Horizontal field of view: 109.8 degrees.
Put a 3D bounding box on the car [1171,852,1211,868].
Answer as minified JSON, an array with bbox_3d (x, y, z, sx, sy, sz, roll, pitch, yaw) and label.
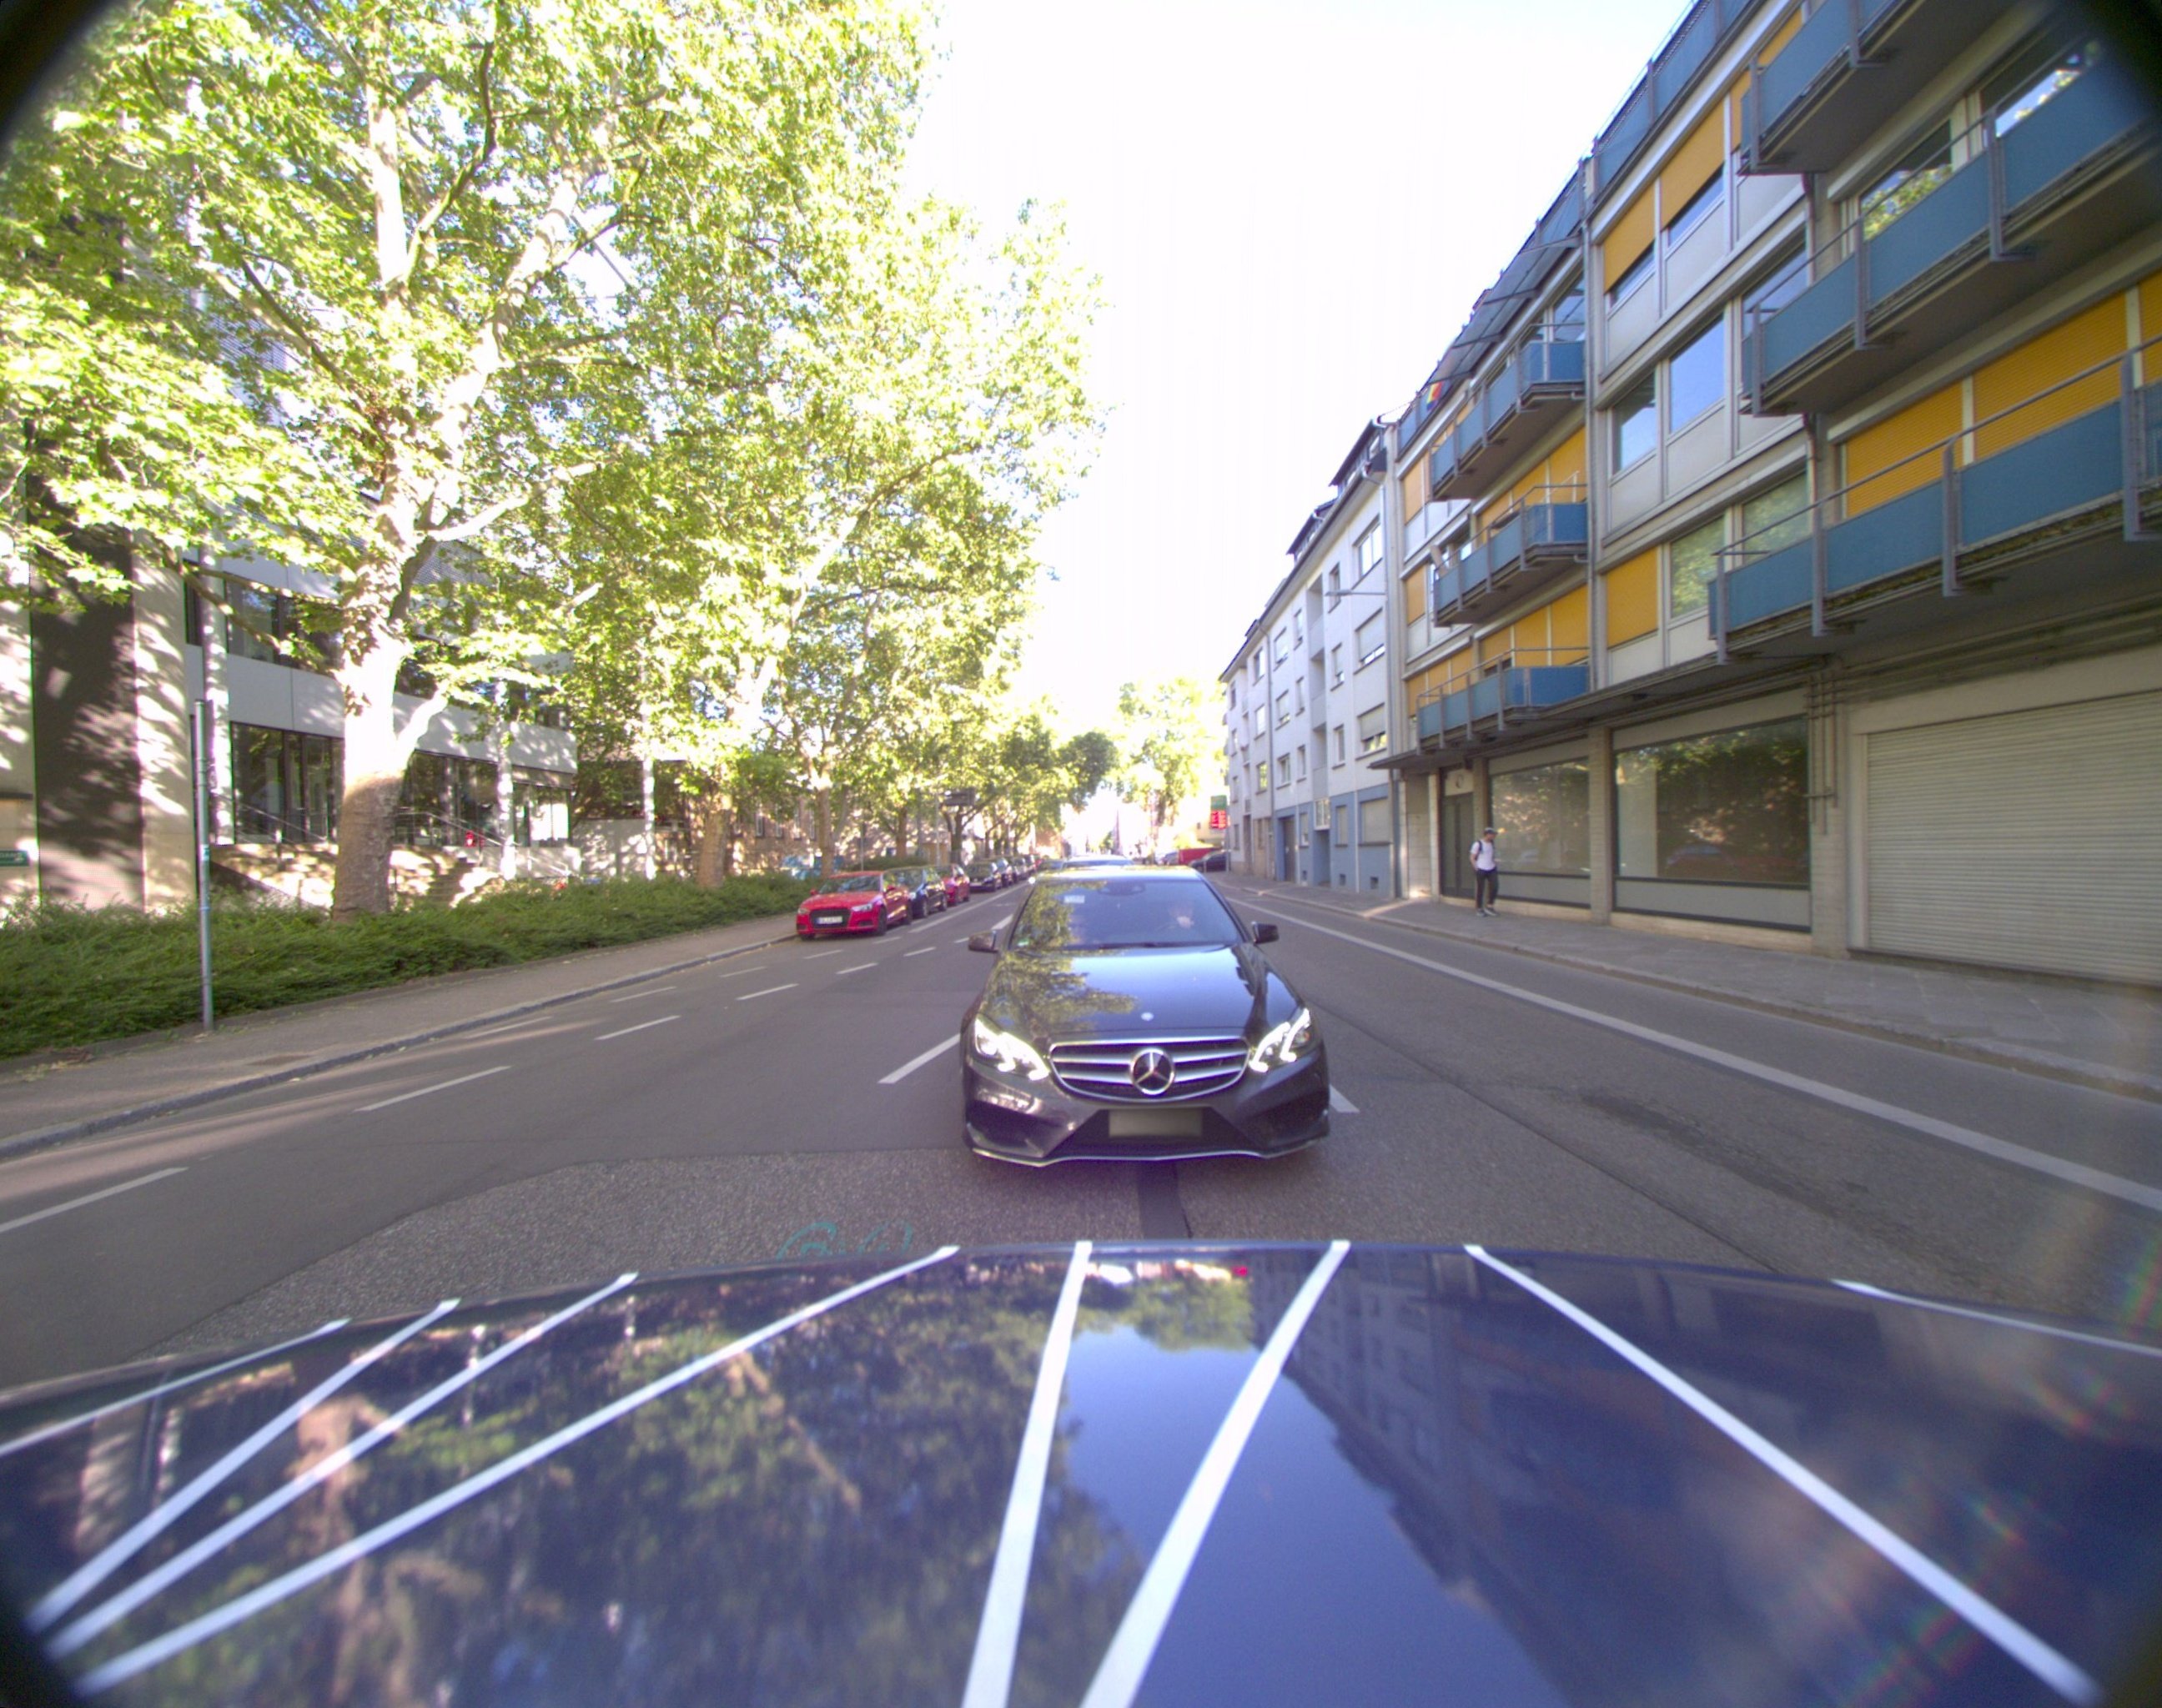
[{"bbox_3d":[9.616,0.504,66.534,3.325,1.241,1.295,-3,1,0],"label":"car"}]

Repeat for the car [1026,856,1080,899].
[{"bbox_3d":[-1.025,0.852,29.915,1.853,1.455,4.098,-3,0,1],"label":"car"}]

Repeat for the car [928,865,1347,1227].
[{"bbox_3d":[0.275,0.894,5.464,1.804,1.455,4.125,-3,0,1],"label":"car"}]

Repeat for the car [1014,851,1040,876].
[{"bbox_3d":[-4.207,0.740,59.434,1.635,1.799,3.673,-3,0,1],"label":"car"}]

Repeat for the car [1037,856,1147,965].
[{"bbox_3d":[0.198,0.911,14.216,1.680,1.622,4.125,-3,0,1],"label":"car"}]

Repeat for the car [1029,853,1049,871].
[{"bbox_3d":[-4.113,0.760,74.893,1.635,1.713,3.673,-3,0,1],"label":"car"}]

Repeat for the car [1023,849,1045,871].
[{"bbox_3d":[-4.341,0.537,70.198,1.635,1.878,3.673,-3,0,1],"label":"car"}]

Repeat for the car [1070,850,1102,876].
[{"bbox_3d":[0.310,0.524,47.673,1.829,1.455,4.098,-3,0,1],"label":"car"}]

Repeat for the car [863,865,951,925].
[{"bbox_3d":[-5.017,1.144,22.421,1.635,1.455,3.740,-3,0,1],"label":"car"}]

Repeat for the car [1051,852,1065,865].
[{"bbox_3d":[-3.237,0.626,106.668,1.635,1.713,3.673,-3,0,1],"label":"car"}]

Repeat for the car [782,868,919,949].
[{"bbox_3d":[-5.158,1.156,17.619,1.804,1.455,4.125,-3,0,1],"label":"car"}]

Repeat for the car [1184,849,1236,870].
[{"bbox_3d":[9.921,0.447,58.616,3.670,1.403,1.636,-3,0,0],"label":"car"}]

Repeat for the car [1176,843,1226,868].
[{"bbox_3d":[10.051,0.121,63.877,3.928,1.912,1.636,-3,1,0],"label":"car"}]

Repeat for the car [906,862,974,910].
[{"bbox_3d":[-5.038,1.105,27.563,1.635,1.455,3.740,-3,0,1],"label":"car"}]

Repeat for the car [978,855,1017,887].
[{"bbox_3d":[-4.579,0.906,42.033,1.635,1.578,3.845,-3,0,1],"label":"car"}]

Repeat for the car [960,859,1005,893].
[{"bbox_3d":[-4.764,1.039,37.213,1.635,1.455,3.740,-3,0,1],"label":"car"}]

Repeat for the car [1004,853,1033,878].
[{"bbox_3d":[-4.469,0.812,54.648,1.635,1.644,3.845,-3,0,1],"label":"car"}]

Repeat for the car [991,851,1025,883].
[{"bbox_3d":[-4.550,0.781,47.882,1.635,1.795,3.845,-3,0,1],"label":"car"}]

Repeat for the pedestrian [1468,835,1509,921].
[{"bbox_3d":[8.321,0.492,15.530,0.569,1.716,0.343,-3,1,0],"label":"pedestrian"}]
